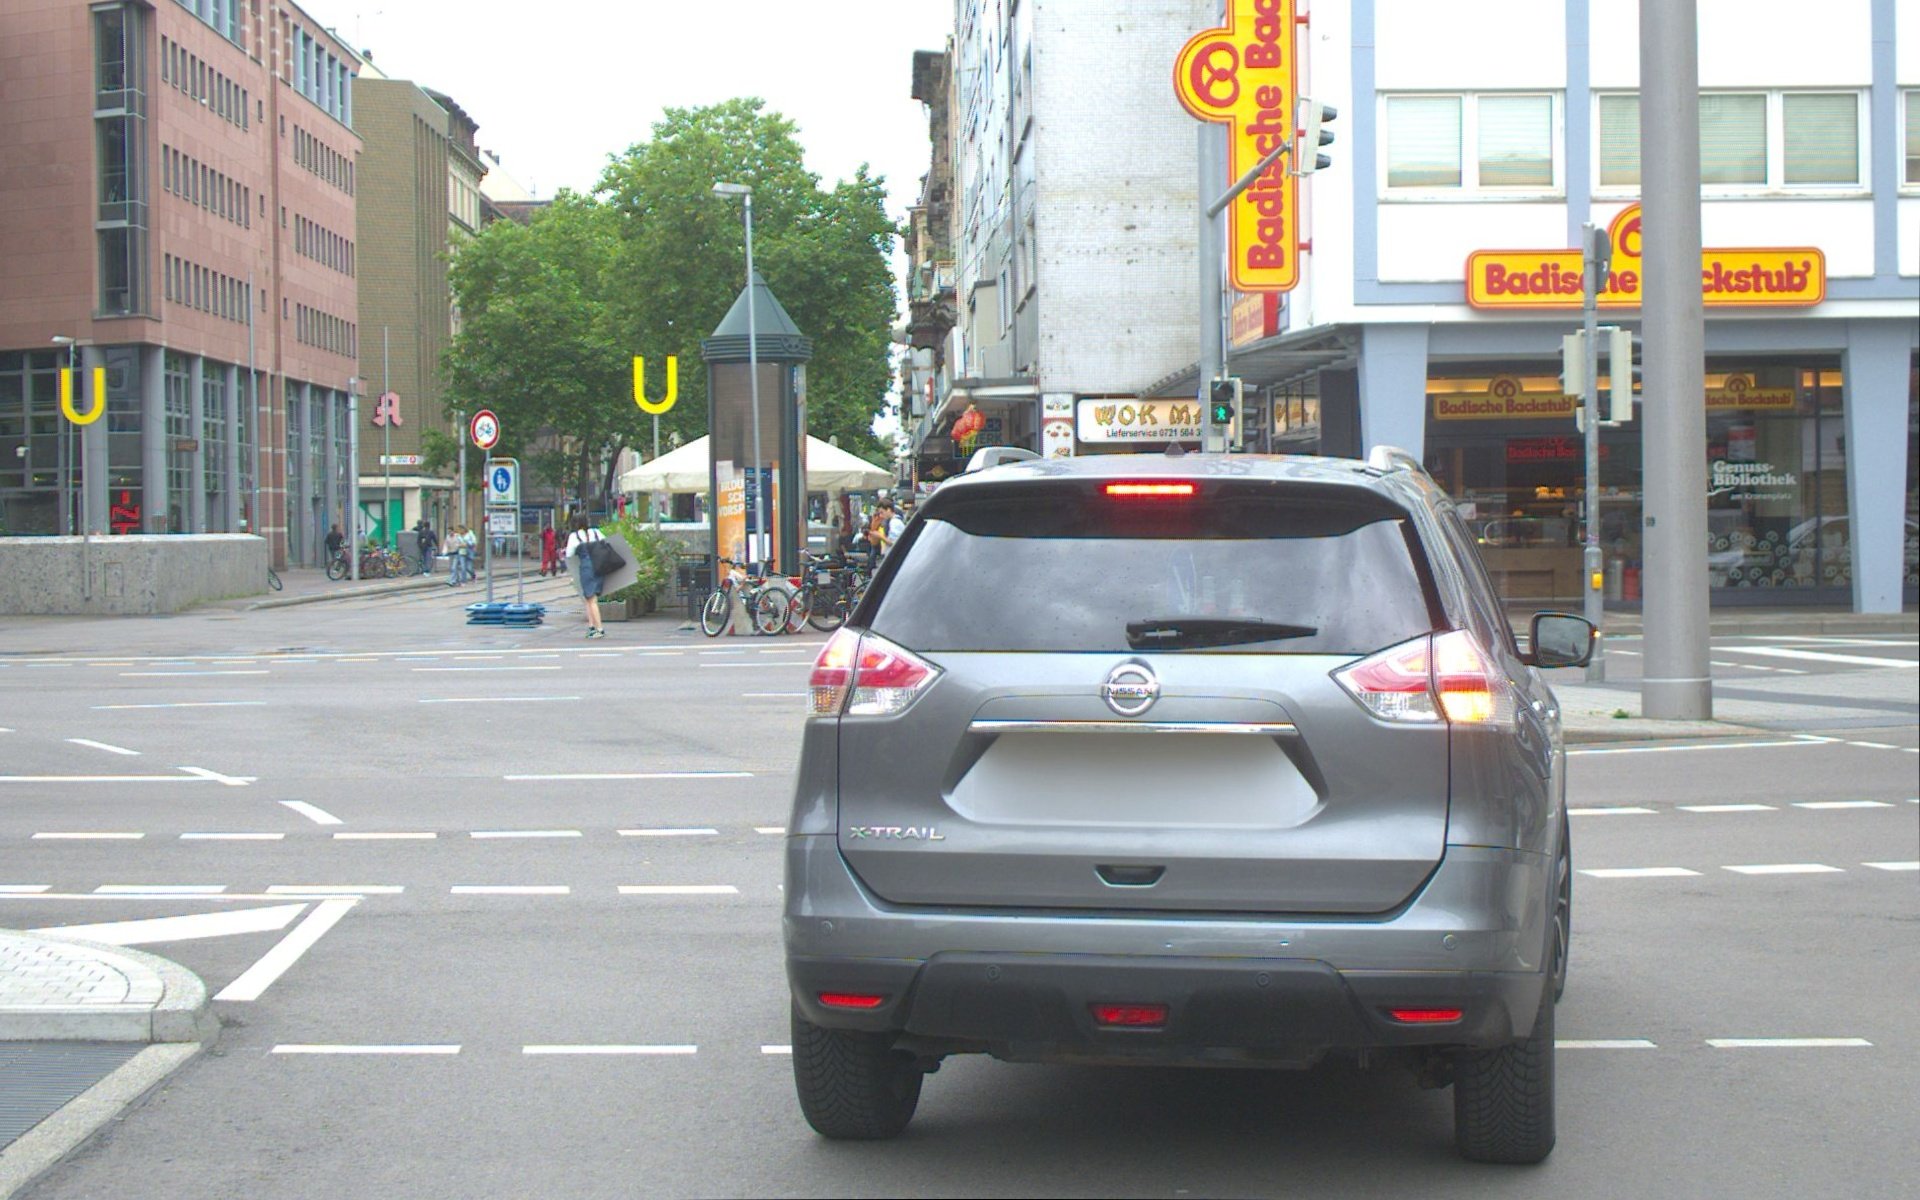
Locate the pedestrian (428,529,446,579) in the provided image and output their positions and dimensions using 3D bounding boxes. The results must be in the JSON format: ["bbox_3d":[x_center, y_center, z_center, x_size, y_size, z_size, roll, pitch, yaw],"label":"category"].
[{"bbox_3d":[-17.931,-1.580,117.916,0.600,1.708,0.656,0,1,-8],"label":"pedestrian"}]

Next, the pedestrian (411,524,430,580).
[{"bbox_3d":[-16.776,-1.494,106.901,0.600,1.708,0.656,0,1,-8],"label":"pedestrian"}]

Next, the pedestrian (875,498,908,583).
[{"bbox_3d":[-1.384,-1.200,69.502,0.643,1.699,0.559,0,1,0],"label":"pedestrian"}]

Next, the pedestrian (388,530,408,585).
[{"bbox_3d":[-17.601,-1.330,107.659,0.600,1.708,0.656,0,1,-8],"label":"pedestrian"}]

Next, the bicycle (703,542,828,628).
[{"bbox_3d":[-2.684,-0.206,47.451,1.695,1.167,0.437,0,1,-8],"label":"bicycle"}]

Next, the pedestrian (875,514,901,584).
[{"bbox_3d":[-1.767,-1.252,84.146,0.611,1.699,0.619,0,1,0],"label":"pedestrian"}]

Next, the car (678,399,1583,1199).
[{"bbox_3d":[0.747,0.428,9.558,1.864,1.768,4.565,0,1,11],"label":"car"}]

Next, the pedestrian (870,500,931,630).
[{"bbox_3d":[-0.809,-0.477,46.613,0.732,1.739,0.663,0,1,-9],"label":"pedestrian"}]

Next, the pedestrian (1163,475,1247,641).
[{"bbox_3d":[2.722,-0.472,38.310,0.712,1.826,1.017,0,1,-9],"label":"pedestrian"}]

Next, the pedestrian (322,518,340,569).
[{"bbox_3d":[-21.393,-1.925,116.959,0.600,1.708,0.656,0,1,-8],"label":"pedestrian"}]

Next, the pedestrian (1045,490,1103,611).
[{"bbox_3d":[1.616,-0.704,48.703,0.710,1.699,0.734,1,1,11],"label":"pedestrian"}]

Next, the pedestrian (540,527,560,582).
[{"bbox_3d":[-12.876,-1.432,107.848,0.600,1.708,0.656,0,1,-8],"label":"pedestrian"}]

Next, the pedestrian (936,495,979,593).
[{"bbox_3d":[-0.045,-1.053,64.671,0.737,1.815,0.662,-1,1,-3],"label":"pedestrian"}]

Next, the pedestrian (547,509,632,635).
[{"bbox_3d":[-5.059,-0.390,46.952,0.926,1.699,0.734,1,1,18],"label":"pedestrian"}]

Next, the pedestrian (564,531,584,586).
[{"bbox_3d":[-12.146,-1.310,108.074,0.600,1.708,0.656,0,1,-8],"label":"pedestrian"}]

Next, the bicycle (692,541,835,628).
[{"bbox_3d":[-2.674,-0.211,46.752,1.866,1.167,0.531,0,1,-15],"label":"bicycle"}]

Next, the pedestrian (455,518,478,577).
[{"bbox_3d":[-13.034,-1.392,90.842,0.600,1.531,0.656,0,1,-8],"label":"pedestrian"}]

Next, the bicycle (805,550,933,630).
[{"bbox_3d":[-1.240,-0.139,46.961,1.696,1.062,0.437,0,1,5],"label":"bicycle"}]

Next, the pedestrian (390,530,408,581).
[{"bbox_3d":[-18.873,-1.508,115.622,0.600,1.708,0.656,0,1,-8],"label":"pedestrian"}]
